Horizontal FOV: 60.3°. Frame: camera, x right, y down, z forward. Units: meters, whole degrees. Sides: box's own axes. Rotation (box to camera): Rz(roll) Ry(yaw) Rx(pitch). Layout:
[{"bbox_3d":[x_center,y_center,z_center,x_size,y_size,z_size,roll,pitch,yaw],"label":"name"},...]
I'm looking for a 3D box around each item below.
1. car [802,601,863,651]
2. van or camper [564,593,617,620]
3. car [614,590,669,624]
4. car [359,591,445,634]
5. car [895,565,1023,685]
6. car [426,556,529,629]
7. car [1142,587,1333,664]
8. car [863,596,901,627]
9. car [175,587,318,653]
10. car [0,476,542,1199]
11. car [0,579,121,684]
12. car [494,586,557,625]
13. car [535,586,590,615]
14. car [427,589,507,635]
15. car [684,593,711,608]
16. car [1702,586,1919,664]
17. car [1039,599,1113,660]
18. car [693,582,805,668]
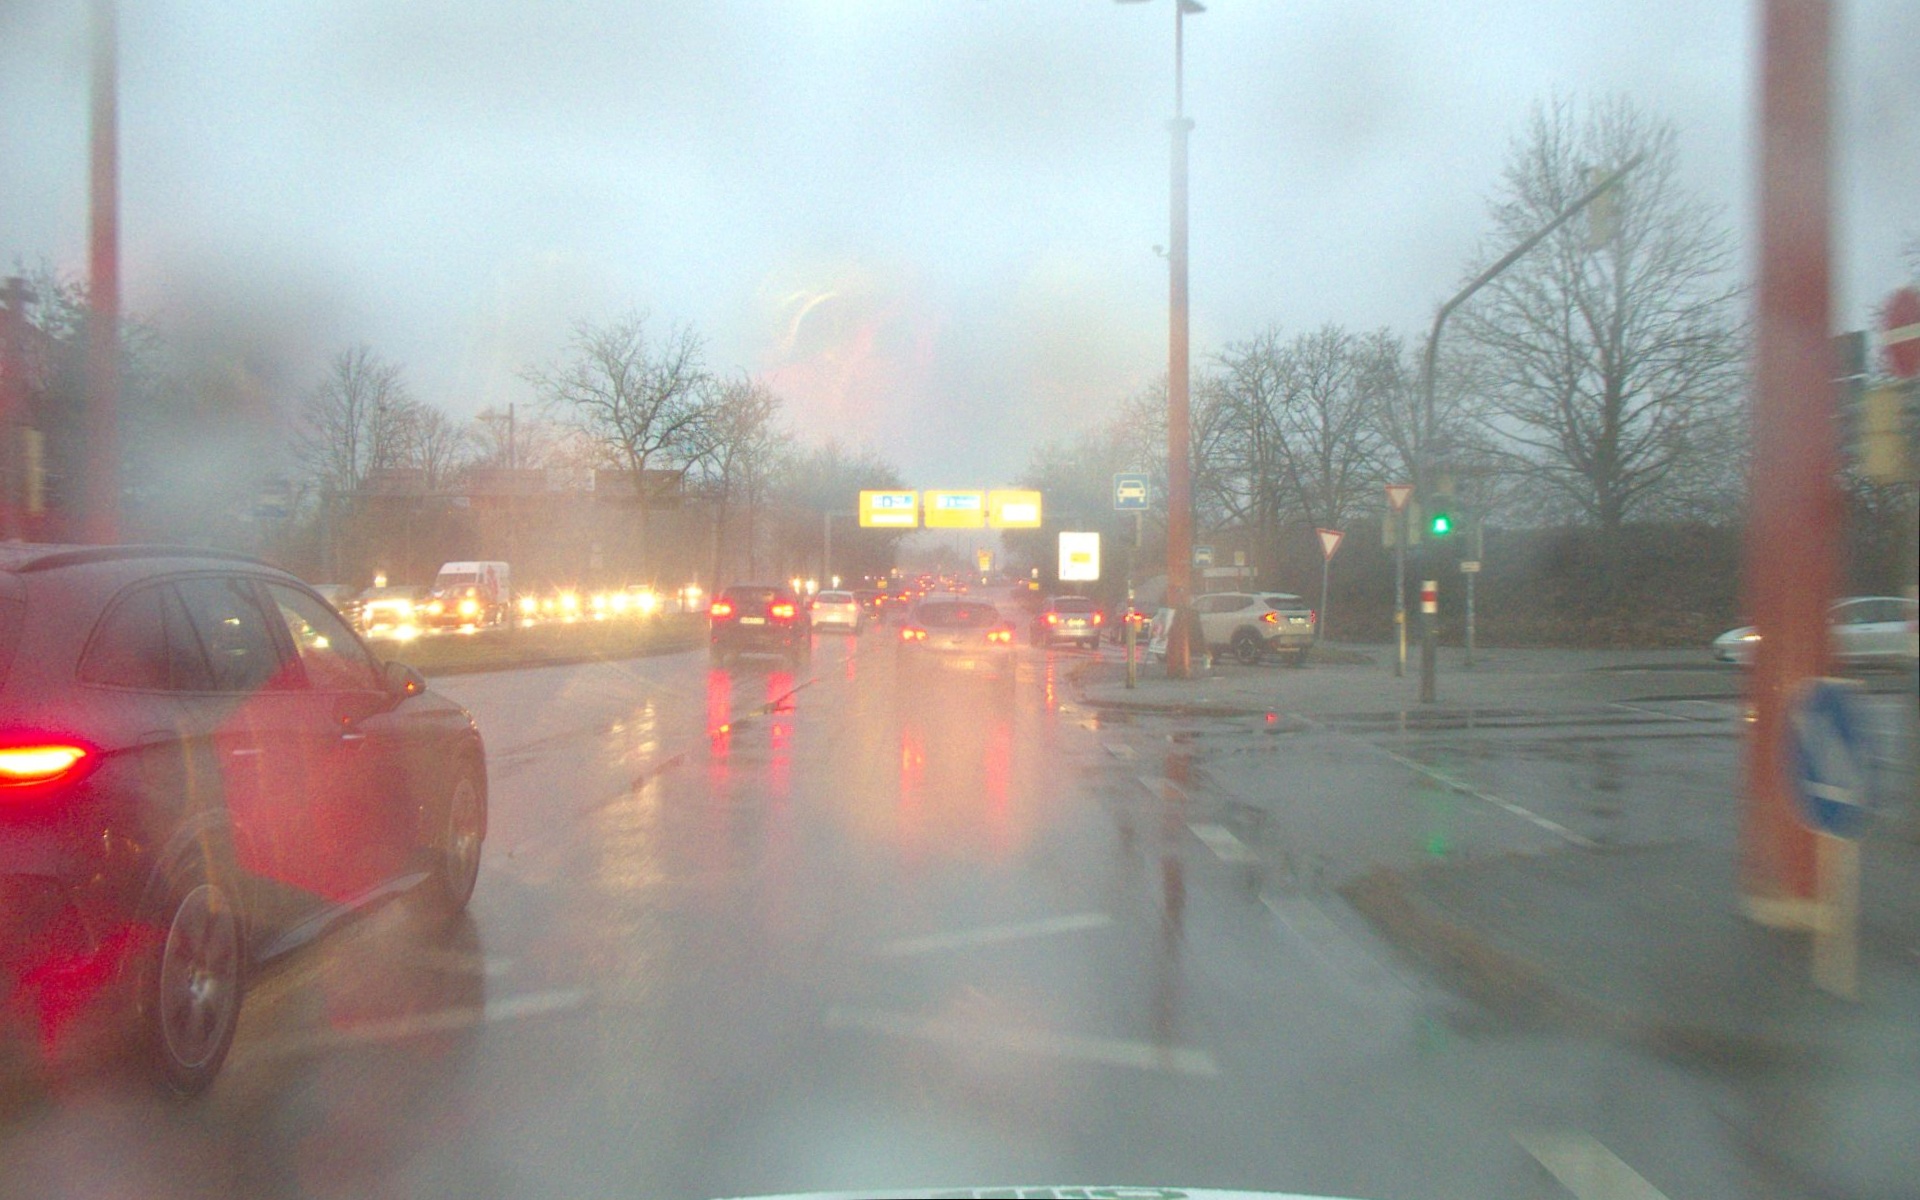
[{"bbox_3d":[-4.429,0.878,58.105,1.785,1.677,4.000,0,0,1],"label":"car"},{"bbox_3d":[-21.300,0.363,95.597,1.865,1.472,5.158,1,0,0],"label":"van or camper"},{"bbox_3d":[-15.079,0.305,78.608,1.734,1.563,4.840,0,1,-1],"label":"car"},{"bbox_3d":[-21.304,0.468,63.329,1.733,1.563,4.447,0,1,1],"label":"car"},{"bbox_3d":[0.007,0.335,25.272,1.785,1.676,4.467,0,0,1],"label":"car"},{"bbox_3d":[-21.509,-0.308,74.136,2.244,3.057,7.347,2,0,1],"label":"car"},{"bbox_3d":[6.304,0.544,38.007,1.801,1.646,4.354,0,0,-36],"label":"car"},{"bbox_3d":[-3.532,0.521,75.199,1.474,1.362,4.000,0,0,1],"label":"car"},{"bbox_3d":[-18.034,0.464,42.030,1.734,1.560,4.525,0,1,-1],"label":"car"},{"bbox_3d":[-3.014,0.543,6.043,1.785,1.677,4.467,0,0,1],"label":"car"},{"bbox_3d":[-15.644,0.467,27.093,1.819,1.609,4.078,0,1,-2],"label":"car"},{"bbox_3d":[-21.104,0.239,80.467,1.759,1.688,4.003,2,2,4],"label":"car"},{"bbox_3d":[-21.155,0.016,88.216,1.865,1.472,4.442,1,0,0],"label":"car"},{"bbox_3d":[-17.959,0.413,60.404,1.734,1.614,4.033,0,1,-1],"label":"car"},{"bbox_3d":[-26.164,0.048,165.111,1.952,1.503,4.073,1,0,1],"label":"car"},{"bbox_3d":[16.557,0.453,30.811,4.638,1.400,1.884,0,0,8],"label":"car"},{"bbox_3d":[3.378,0.852,48.899,1.893,1.677,4.466,2,0,1],"label":"car"},{"bbox_3d":[-4.333,0.491,34.530,1.785,1.677,4.000,0,0,1],"label":"car"}]
